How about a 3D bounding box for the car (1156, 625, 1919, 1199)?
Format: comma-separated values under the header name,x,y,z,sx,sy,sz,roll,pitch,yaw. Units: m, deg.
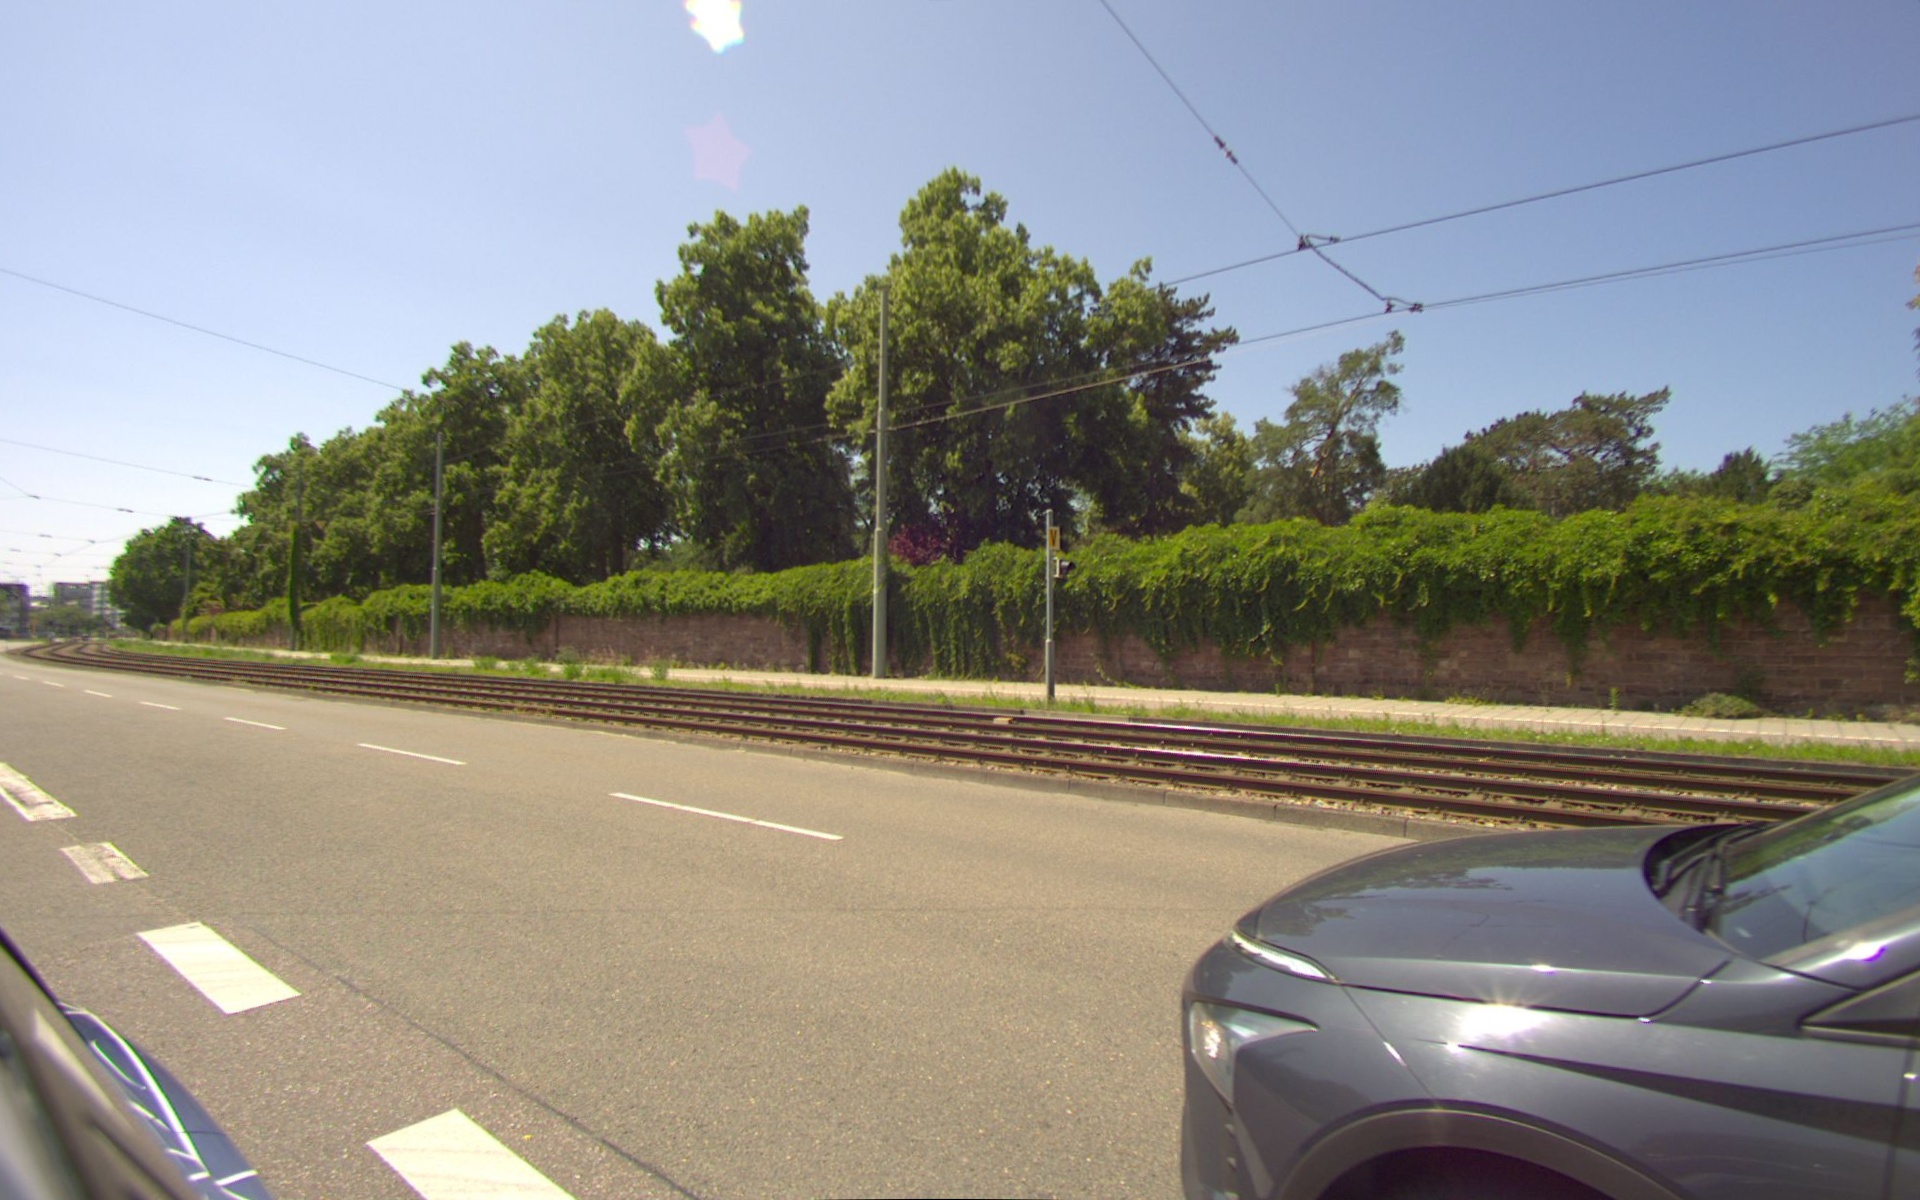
name,x,y,z,sx,sy,sz,roll,pitch,yaw
car,2.465,0.745,1.114,4.140,1.433,1.695,-2,-3,41
